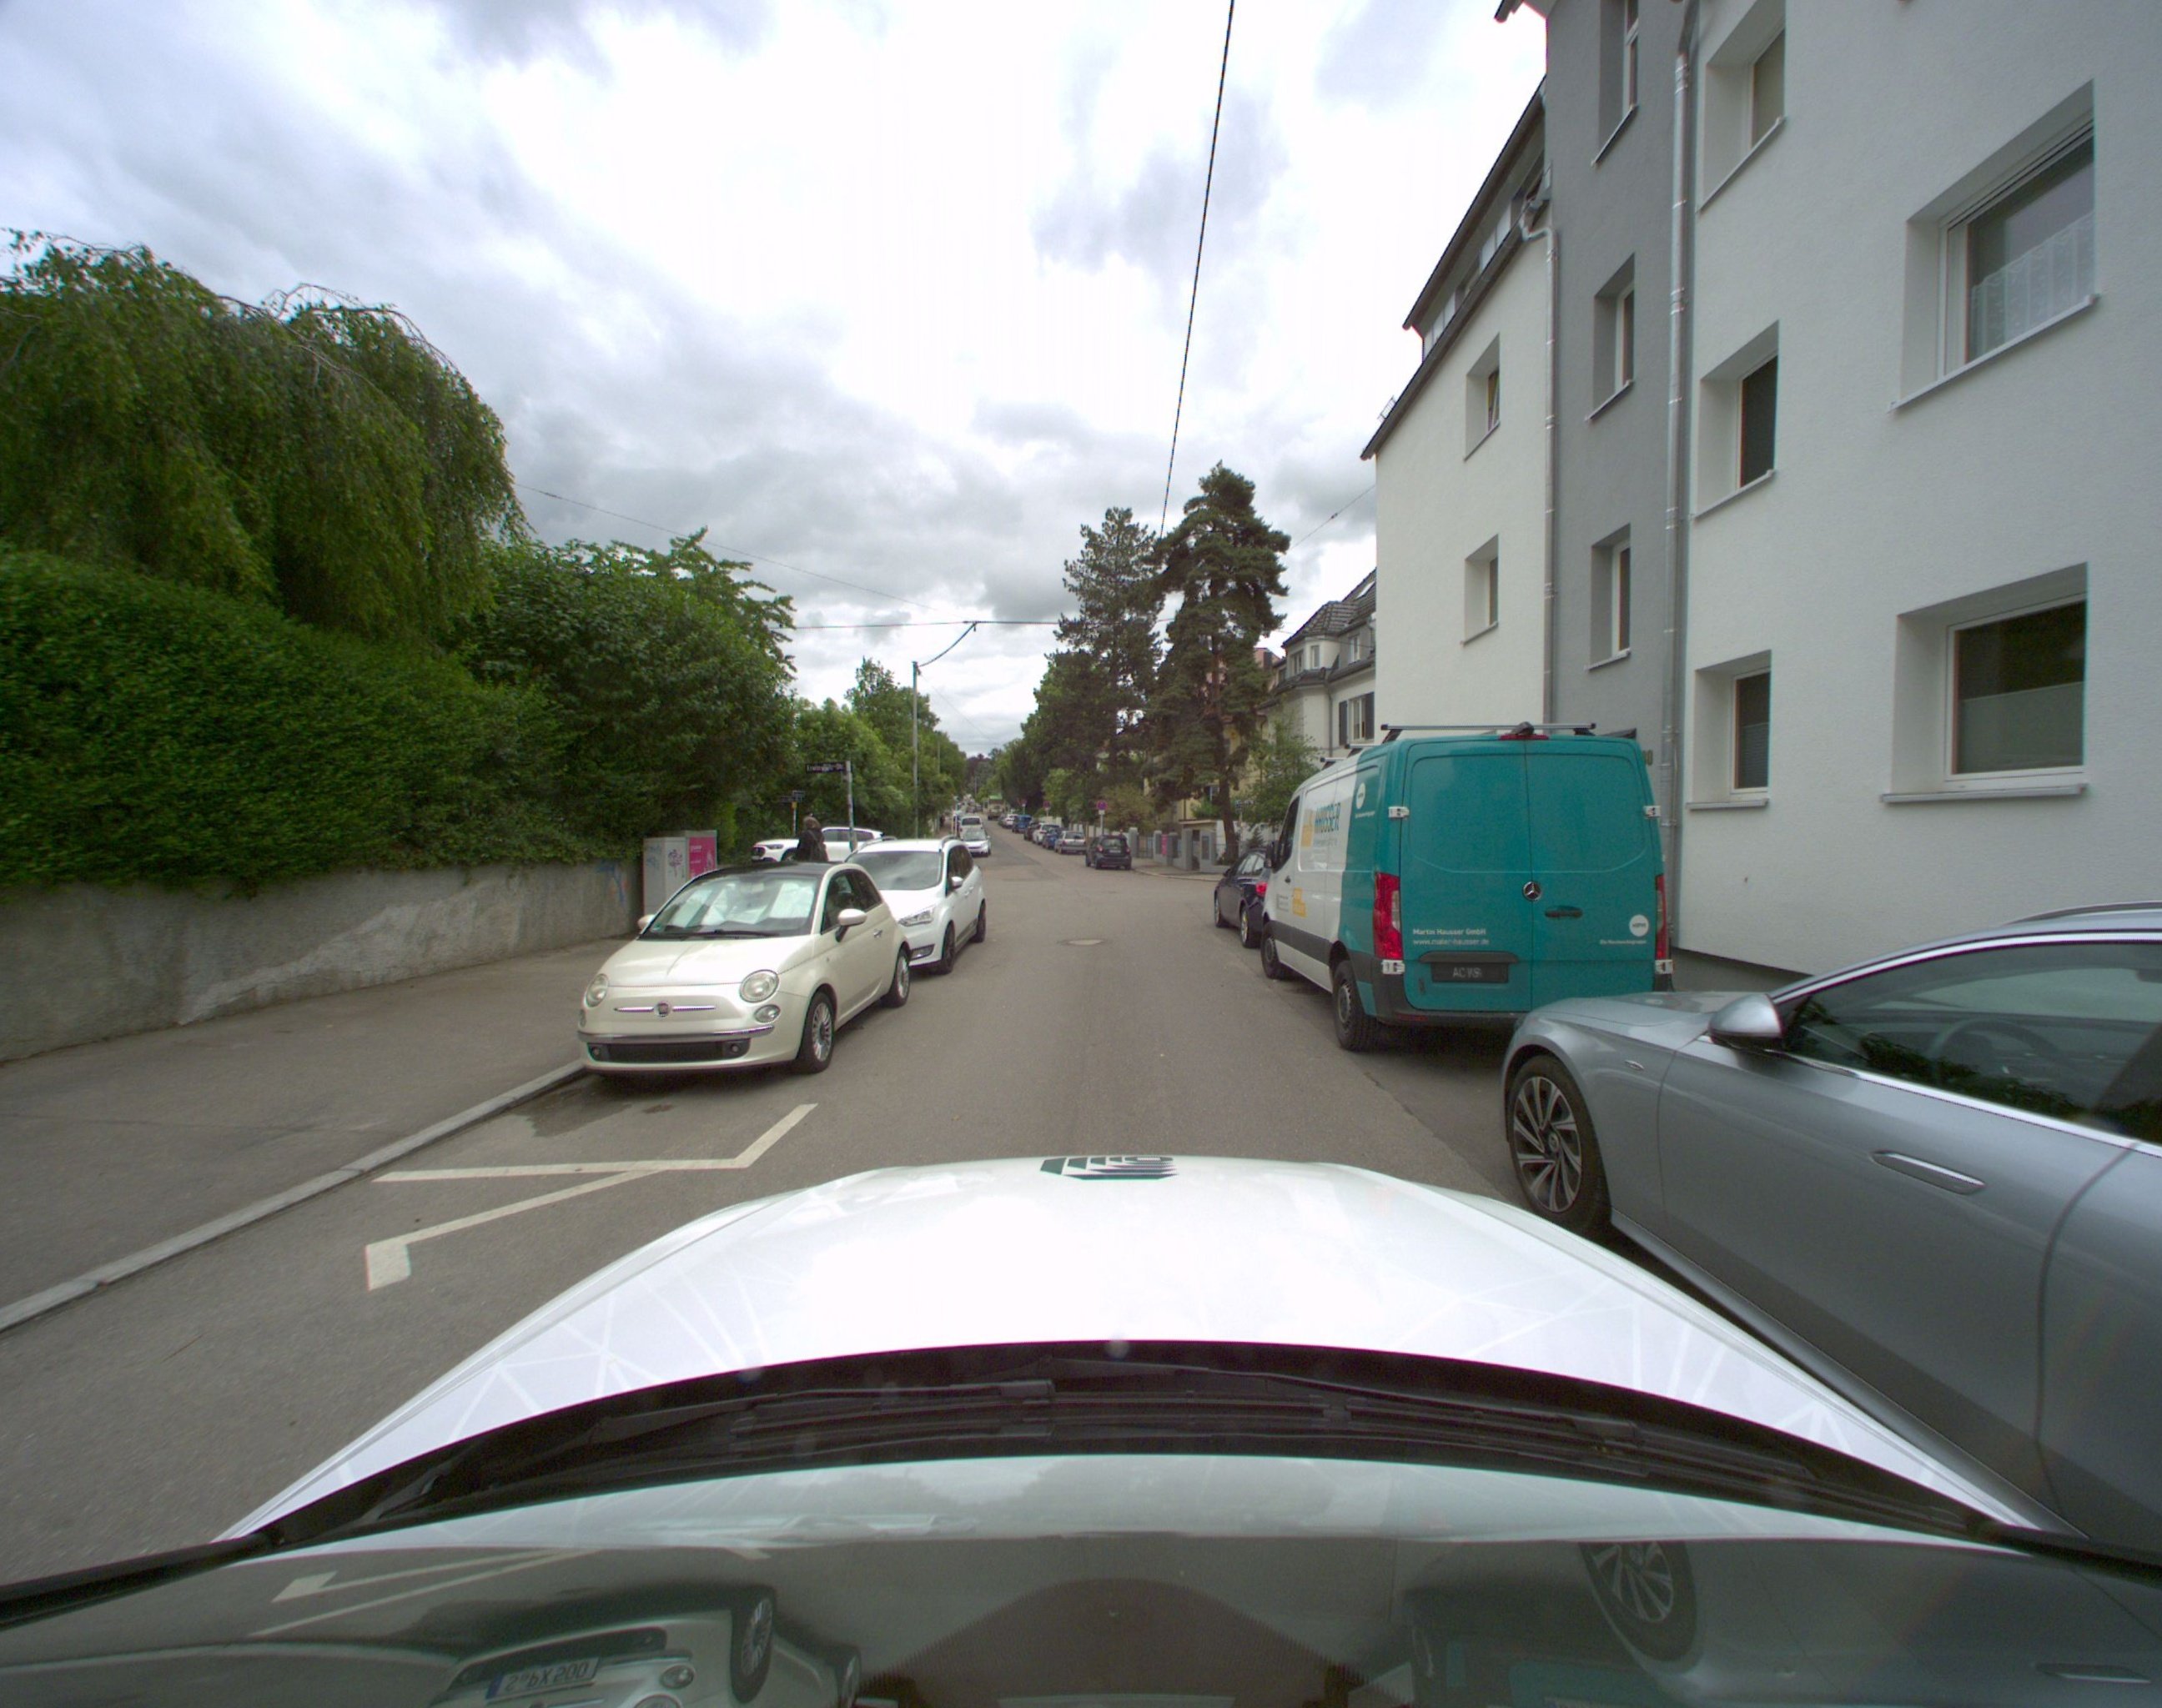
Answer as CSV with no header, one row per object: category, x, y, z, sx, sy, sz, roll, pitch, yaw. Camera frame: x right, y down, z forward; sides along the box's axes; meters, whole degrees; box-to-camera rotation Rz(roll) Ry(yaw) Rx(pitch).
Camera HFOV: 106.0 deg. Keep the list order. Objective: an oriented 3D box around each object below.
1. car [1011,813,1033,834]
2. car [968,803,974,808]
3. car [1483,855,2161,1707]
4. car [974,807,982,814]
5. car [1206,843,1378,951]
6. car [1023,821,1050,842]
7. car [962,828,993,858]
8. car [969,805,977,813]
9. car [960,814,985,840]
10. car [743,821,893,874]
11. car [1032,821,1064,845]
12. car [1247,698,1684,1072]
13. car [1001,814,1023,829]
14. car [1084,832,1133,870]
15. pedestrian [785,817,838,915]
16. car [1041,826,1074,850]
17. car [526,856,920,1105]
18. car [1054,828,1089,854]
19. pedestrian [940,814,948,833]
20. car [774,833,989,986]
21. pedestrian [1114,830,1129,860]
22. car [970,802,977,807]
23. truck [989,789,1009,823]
car,-5.915,-3.065,80.985,1.683,1.828,4.144,2,4,-10
car,-32.614,-14.424,241.717,1.788,1.529,3.725,0,4,-8
car,2.682,0.739,1.597,1.817,1.445,4.386,1,0,3
car,-24.047,-10.148,190.284,1.779,1.488,3.987,0,4,-10
car,3.323,0.586,13.723,1.812,1.485,4.287,0,1,0
car,-3.661,-1.865,66.485,1.750,1.607,4.063,2,3,-10
car,-5.943,-0.649,46.861,1.439,1.551,2.768,-3,4,-2
car,-22.784,-9.542,172.002,1.634,1.700,3.484,0,4,-10
car,-8.816,-2.252,65.947,1.854,1.912,4.606,-3,3,-9
car,-8.940,-0.207,27.997,1.812,1.655,4.541,3,2,44
car,-2.527,-1.595,60.971,1.785,1.603,4.290,1,3,-11
car,3.031,0.200,7.948,1.985,2.422,5.297,0,0,3
car,-7.796,-3.661,91.511,1.759,1.605,4.557,1,4,-13
car,1.235,-0.155,37.640,1.573,1.531,2.857,2,3,-12
pedestrian,-4.971,0.204,15.050,0.820,1.759,0.642,2,2,-11
car,-1.604,-1.123,54.712,1.647,1.458,4.040,1,3,-9
car,-2.616,0.806,6.942,1.601,1.453,3.615,-3,1,2
car,-0.631,-0.798,49.749,1.573,1.400,3.645,1,3,-9
pedestrian,-15.041,-3.387,89.536,0.811,2.013,0.858,0,3,-9
car,-2.475,0.574,11.239,1.797,1.659,4.153,-1,2,2
pedestrian,2.160,-0.495,43.746,0.679,1.576,0.905,-2,1,-3
car,-30.652,-14.114,233.042,1.810,1.335,3.621,1,5,-10
truck,-12.346,-7.206,121.852,2.523,4.746,7.168,1,3,-9
